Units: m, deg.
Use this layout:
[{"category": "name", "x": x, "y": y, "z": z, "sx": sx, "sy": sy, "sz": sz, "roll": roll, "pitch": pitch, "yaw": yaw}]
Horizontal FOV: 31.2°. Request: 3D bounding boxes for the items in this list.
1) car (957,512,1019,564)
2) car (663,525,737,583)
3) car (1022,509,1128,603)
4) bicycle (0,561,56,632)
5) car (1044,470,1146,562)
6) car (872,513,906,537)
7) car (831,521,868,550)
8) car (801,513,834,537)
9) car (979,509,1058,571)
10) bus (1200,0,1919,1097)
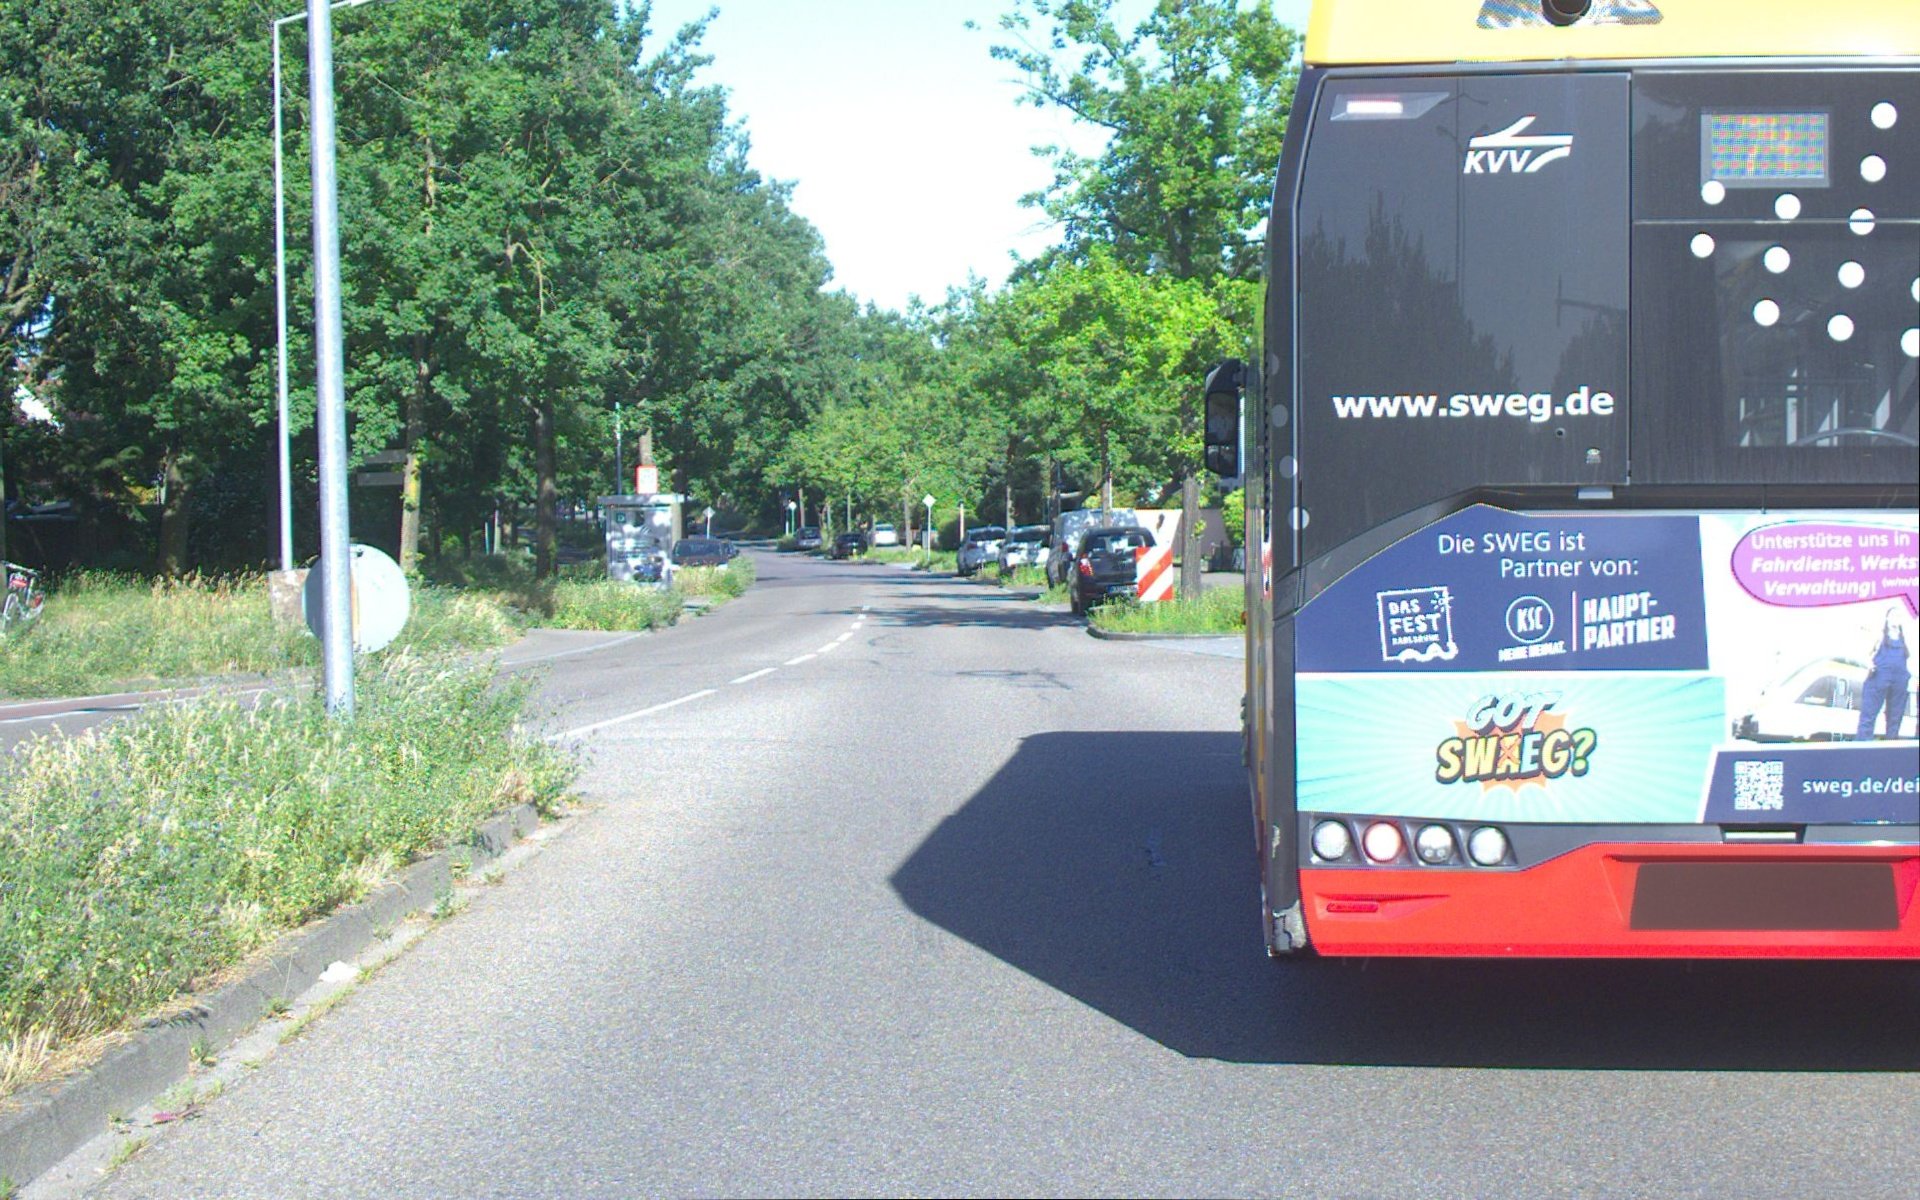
[{"category": "car", "x": 0.961, "y": -2.168, "z": 119.708, "sx": 1.933, "sy": 1.736, "sz": 4.001, "roll": -1, "pitch": 1, "yaw": -3}, {"category": "car", "x": -6.969, "y": -1.248, "z": 92.162, "sx": 1.935, "sy": 1.474, "sz": 4.001, "roll": -1, "pitch": 1, "yaw": -4}, {"category": "car", "x": 2.026, "y": -0.812, "z": 61.598, "sx": 1.672, "sy": 1.573, "sz": 3.752, "roll": -2, "pitch": 1, "yaw": -1}, {"category": "bicycle", "x": -14.306, "y": -0.060, "z": 52.478, "sx": 0.505, "sy": 1.050, "sz": 1.880, "roll": -1, "pitch": 1, "yaw": 0}, {"category": "car", "x": 2.991, "y": -1.874, "z": 77.052, "sx": 1.835, "sy": 1.964, "sz": 4.759, "roll": -1, "pitch": 1, "yaw": -3}, {"category": "car", "x": -4.433, "y": -4.672, "z": 214.846, "sx": 1.933, "sy": 1.449, "sz": 4.001, "roll": -1, "pitch": 1, "yaw": -4}, {"category": "car", "x": -6.081, "y": -3.532, "z": 188.581, "sx": 1.933, "sy": 1.537, "sz": 4.001, "roll": -1, "pitch": 1, "yaw": -3}, {"category": "car", "x": -8.882, "y": -4.680, "z": 213.449, "sx": 1.933, "sy": 1.449, "sz": 4.001, "roll": -1, "pitch": 1, "yaw": -4}, {"category": "car", "x": 1.634, "y": -1.708, "z": 97.131, "sx": 1.935, "sy": 1.698, "sz": 4.001, "roll": -1, "pitch": 1, "yaw": -3}, {"category": "bus", "x": 2.482, "y": -0.590, "z": 14.775, "sx": 2.758, "sy": 3.446, "sz": 12.396, "roll": -2, "pitch": 1, "yaw": 4}]
